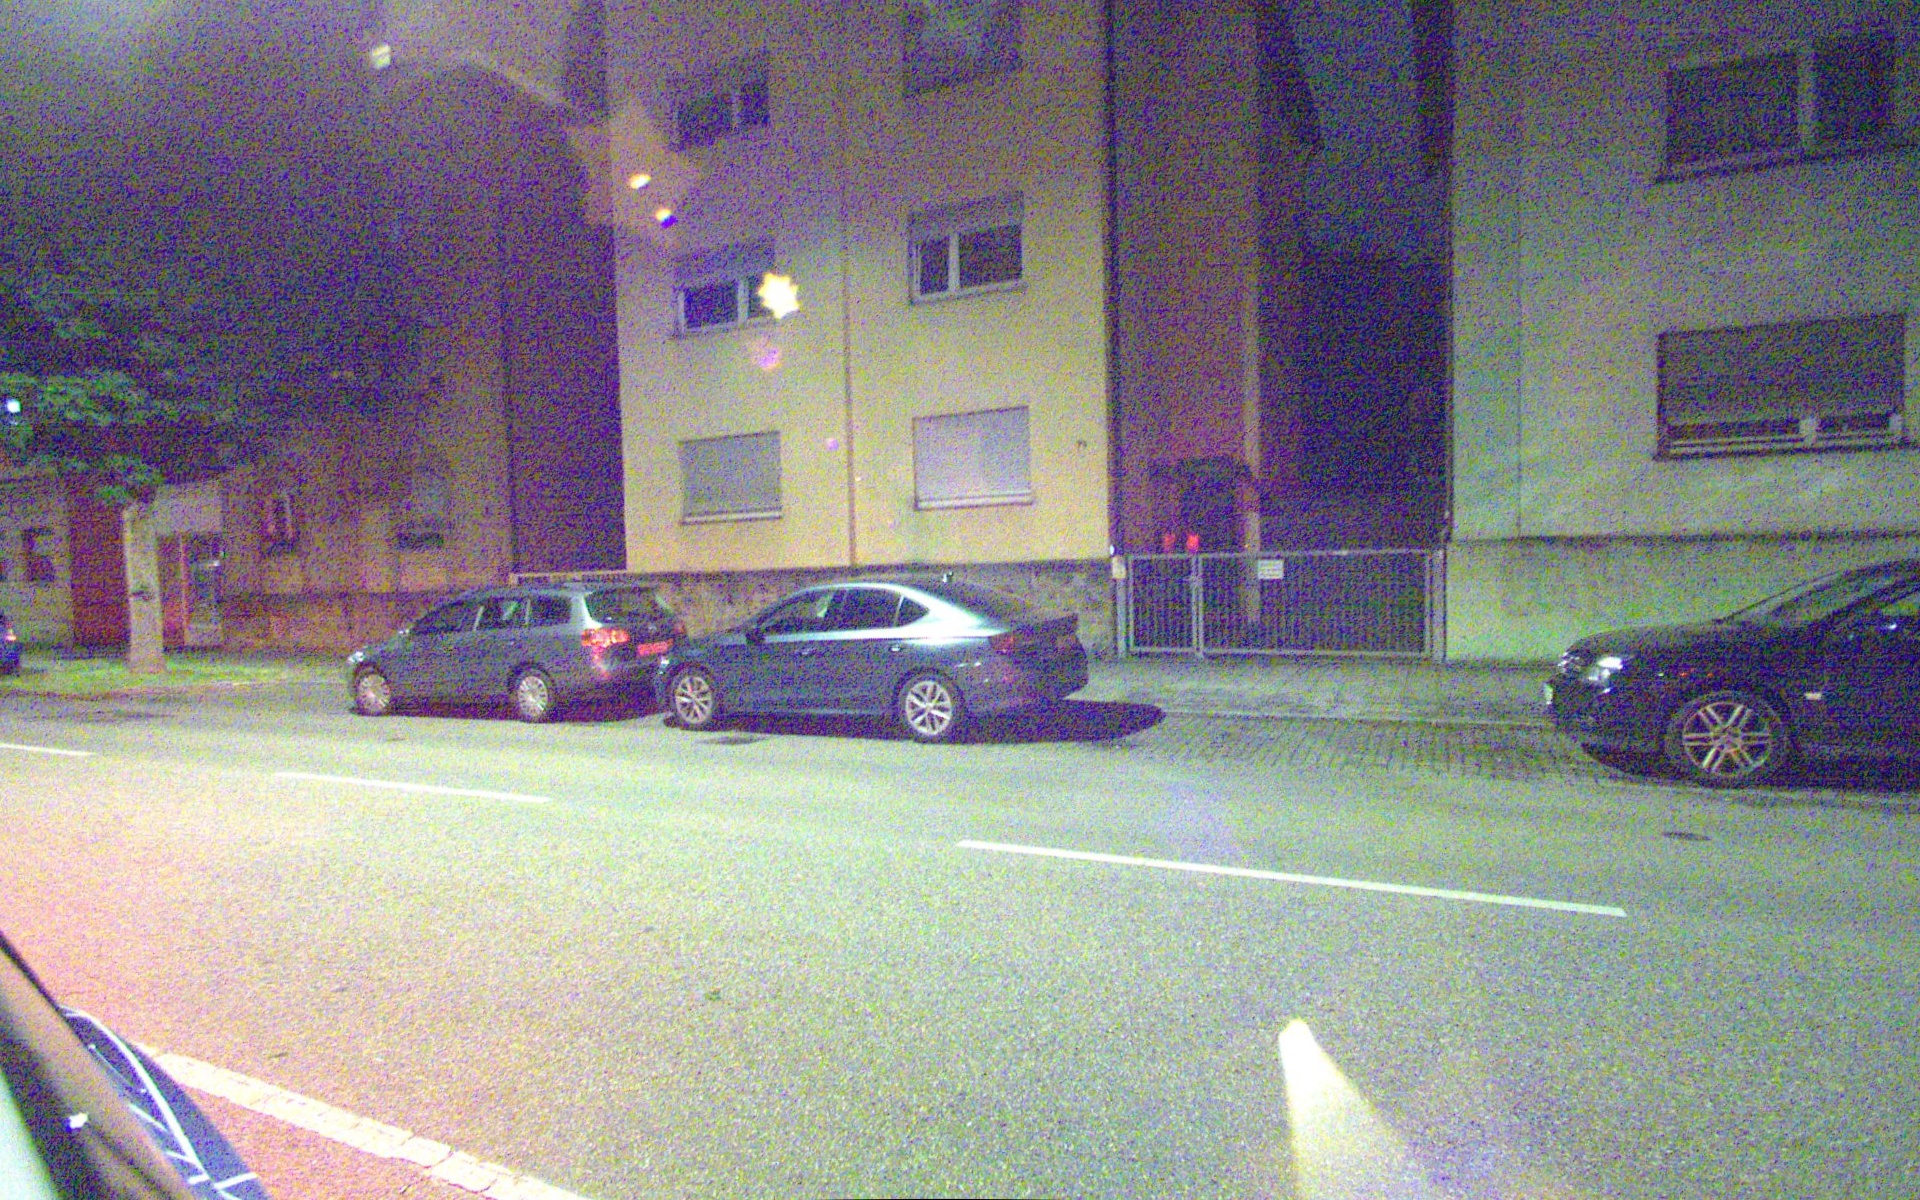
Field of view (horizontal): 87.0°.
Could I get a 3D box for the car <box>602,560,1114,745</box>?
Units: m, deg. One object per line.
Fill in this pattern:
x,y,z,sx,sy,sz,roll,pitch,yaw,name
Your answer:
-1.073,0.435,9.999,4.837,1.497,1.759,-1,1,26,car

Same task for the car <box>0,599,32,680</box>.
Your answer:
-20.042,0.802,19.581,3.968,1.505,1.705,-1,2,26,car

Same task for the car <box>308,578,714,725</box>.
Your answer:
-5.432,0.544,12.156,4.739,1.497,1.759,-1,1,25,car

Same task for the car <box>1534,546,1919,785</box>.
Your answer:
6.316,0.359,6.460,4.424,1.393,1.615,-1,1,24,car
